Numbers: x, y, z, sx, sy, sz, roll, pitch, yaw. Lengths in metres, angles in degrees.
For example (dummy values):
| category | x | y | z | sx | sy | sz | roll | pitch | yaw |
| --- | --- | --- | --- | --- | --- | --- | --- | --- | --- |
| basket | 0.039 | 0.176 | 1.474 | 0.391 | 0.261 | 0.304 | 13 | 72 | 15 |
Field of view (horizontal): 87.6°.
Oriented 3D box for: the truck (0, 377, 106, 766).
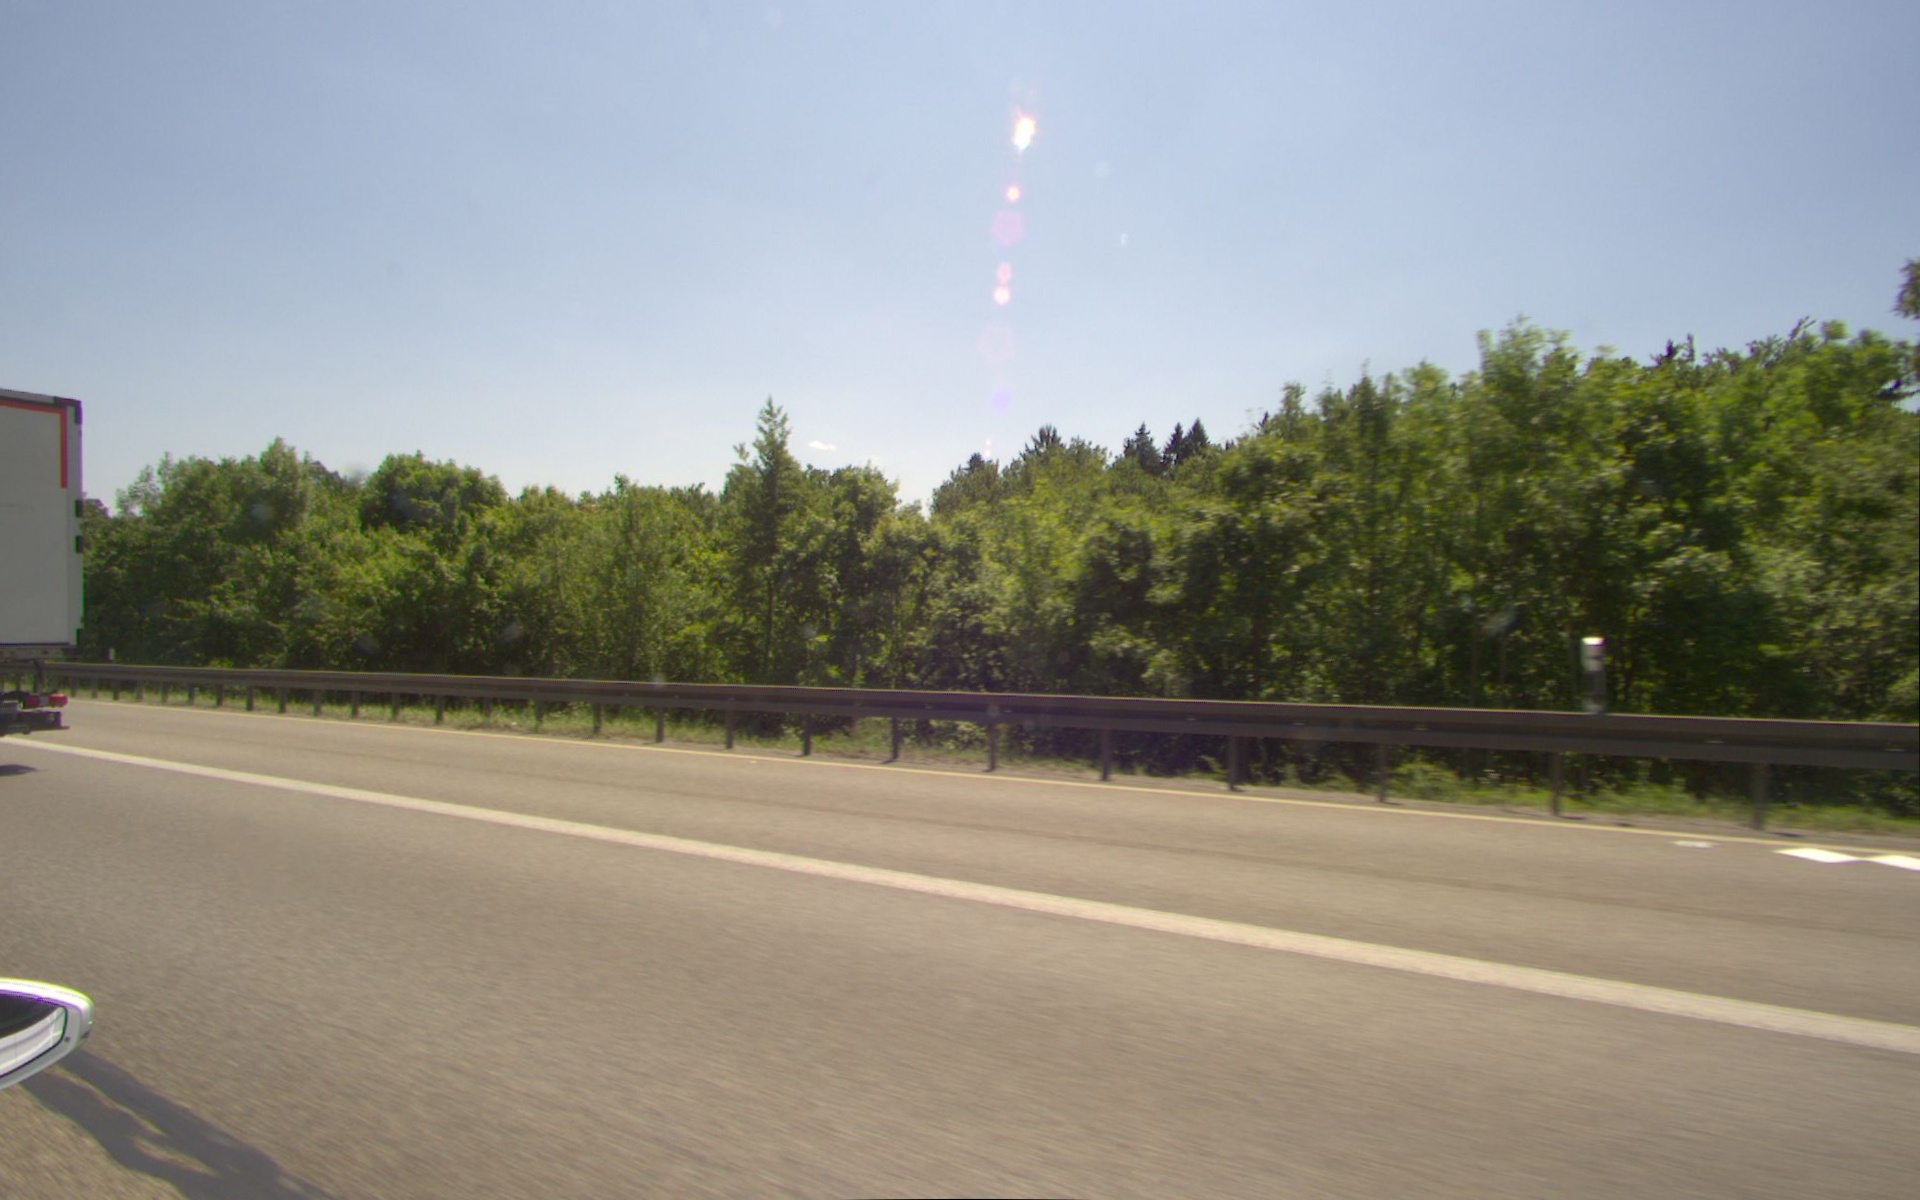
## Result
| category | x | y | z | sx | sy | sz | roll | pitch | yaw |
| --- | --- | --- | --- | --- | --- | --- | --- | --- | --- |
| truck | -14.051 | -0.219 | 12.274 | 9.641 | 3.928 | 2.682 | -1 | 1 | 33 |
